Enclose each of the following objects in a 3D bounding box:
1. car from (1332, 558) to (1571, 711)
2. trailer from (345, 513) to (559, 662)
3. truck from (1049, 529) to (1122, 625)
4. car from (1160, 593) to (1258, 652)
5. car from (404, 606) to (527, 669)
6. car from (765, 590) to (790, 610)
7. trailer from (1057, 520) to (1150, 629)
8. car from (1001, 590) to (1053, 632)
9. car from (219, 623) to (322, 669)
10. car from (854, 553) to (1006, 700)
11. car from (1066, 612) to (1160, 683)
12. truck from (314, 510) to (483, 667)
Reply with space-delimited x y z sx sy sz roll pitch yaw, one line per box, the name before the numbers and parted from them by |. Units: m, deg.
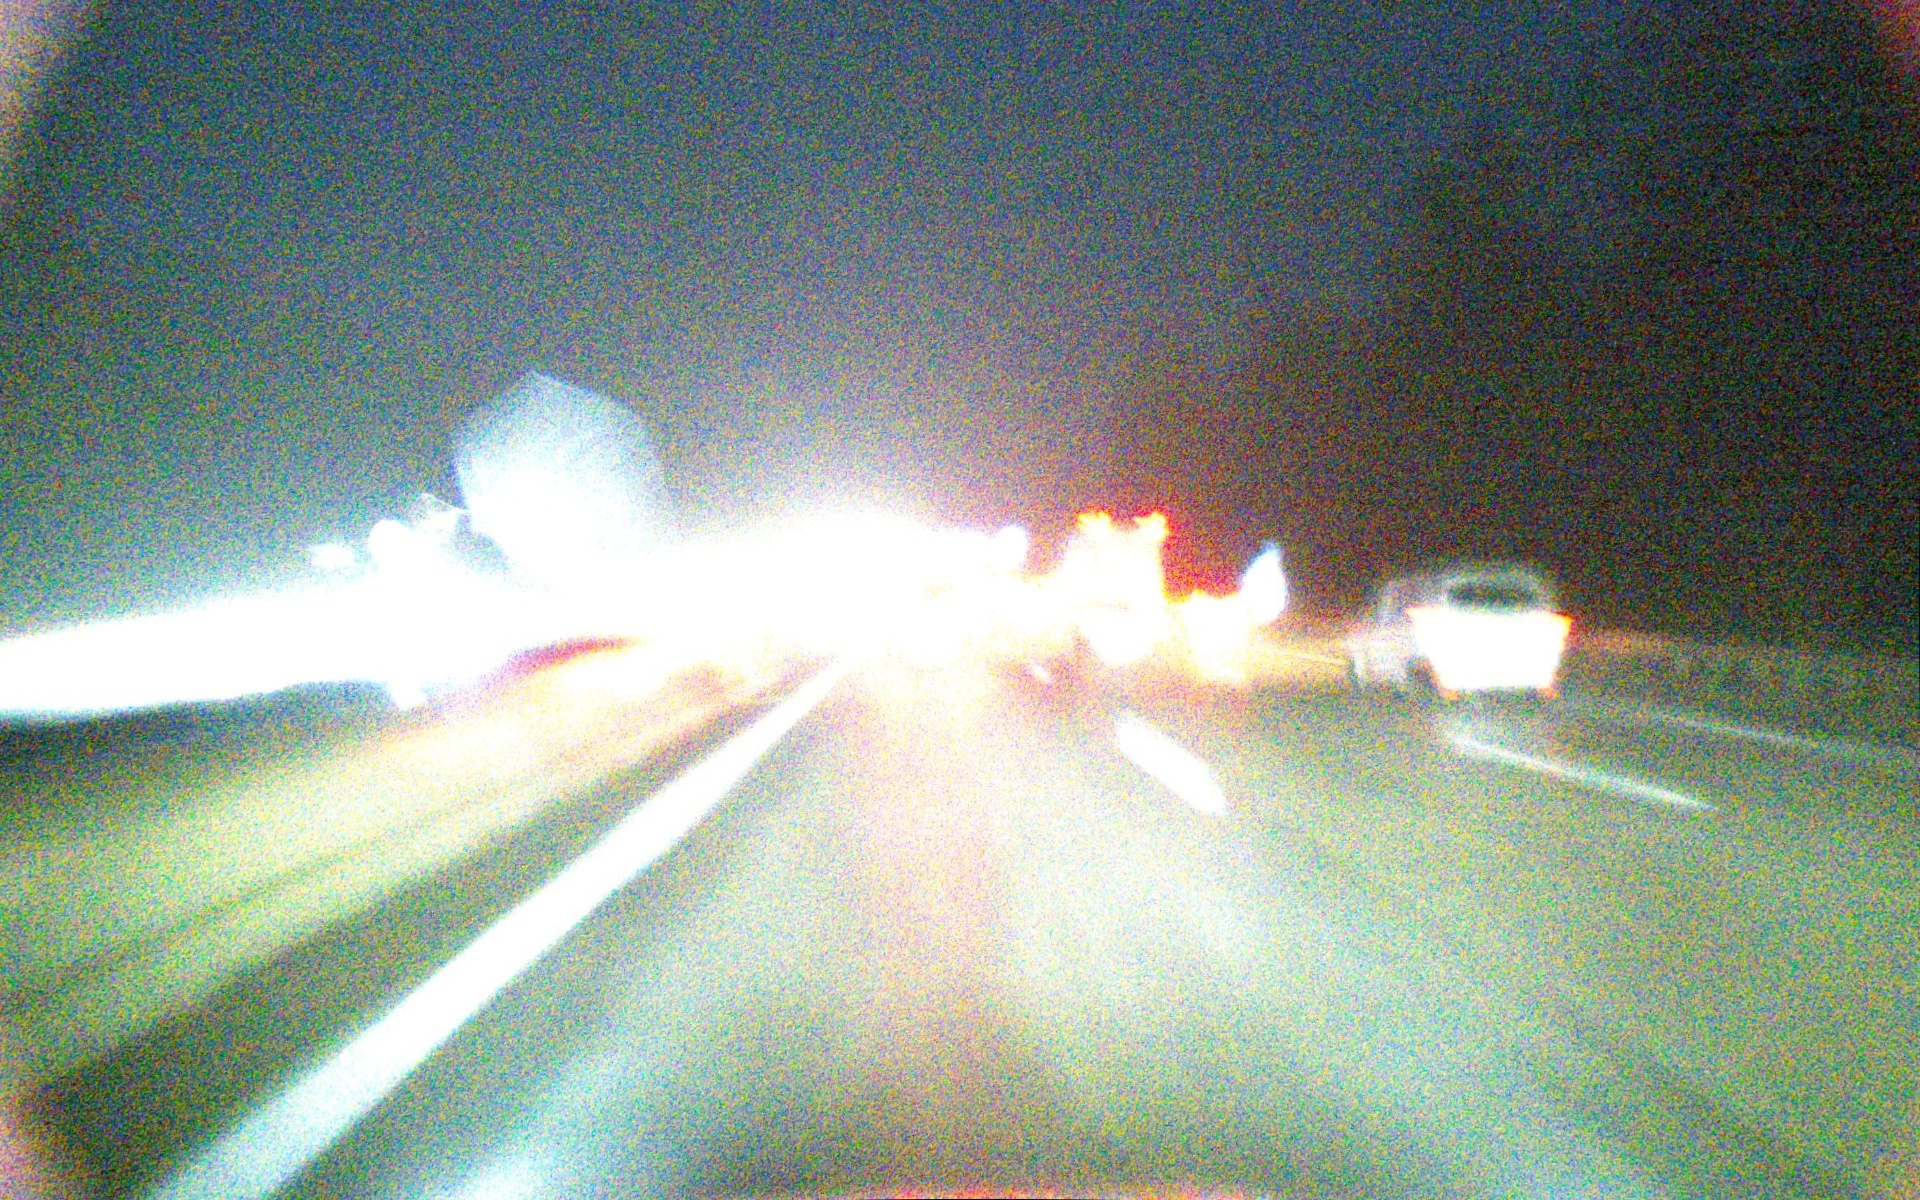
car | 7.271 0.437 25.142 2.004 2.008 5.407 -2 1 0
trailer | -16.964 -0.427 56.748 2.986 4.368 14.406 -2 0 -1
truck | 5.900 -1.058 79.033 2.747 4.341 7.446 1 0 -1
car | 6.994 0.596 46.918 1.856 1.512 4.960 1 1 -2
car | -12.494 0.919 42.060 1.953 1.445 3.999 -1 0 -1
car | -15.072 -0.009 136.904 1.644 1.625 4.347 -1 1 -2
trailer | 6.043 -1.047 71.672 2.747 4.286 12.094 1 0 -1
car | 2.682 0.430 67.001 1.846 1.616 3.999 1 0 -1
car | -20.793 1.364 50.005 1.577 1.252 3.681 -1 0 -1
car | -0.644 0.445 32.682 2.655 2.578 5.828 -2 1 -2
car | 3.309 1.002 36.402 1.580 1.437 3.790 1 0 -2
truck | -16.852 -0.350 50.081 2.992 4.368 6.082 -2 0 -1
